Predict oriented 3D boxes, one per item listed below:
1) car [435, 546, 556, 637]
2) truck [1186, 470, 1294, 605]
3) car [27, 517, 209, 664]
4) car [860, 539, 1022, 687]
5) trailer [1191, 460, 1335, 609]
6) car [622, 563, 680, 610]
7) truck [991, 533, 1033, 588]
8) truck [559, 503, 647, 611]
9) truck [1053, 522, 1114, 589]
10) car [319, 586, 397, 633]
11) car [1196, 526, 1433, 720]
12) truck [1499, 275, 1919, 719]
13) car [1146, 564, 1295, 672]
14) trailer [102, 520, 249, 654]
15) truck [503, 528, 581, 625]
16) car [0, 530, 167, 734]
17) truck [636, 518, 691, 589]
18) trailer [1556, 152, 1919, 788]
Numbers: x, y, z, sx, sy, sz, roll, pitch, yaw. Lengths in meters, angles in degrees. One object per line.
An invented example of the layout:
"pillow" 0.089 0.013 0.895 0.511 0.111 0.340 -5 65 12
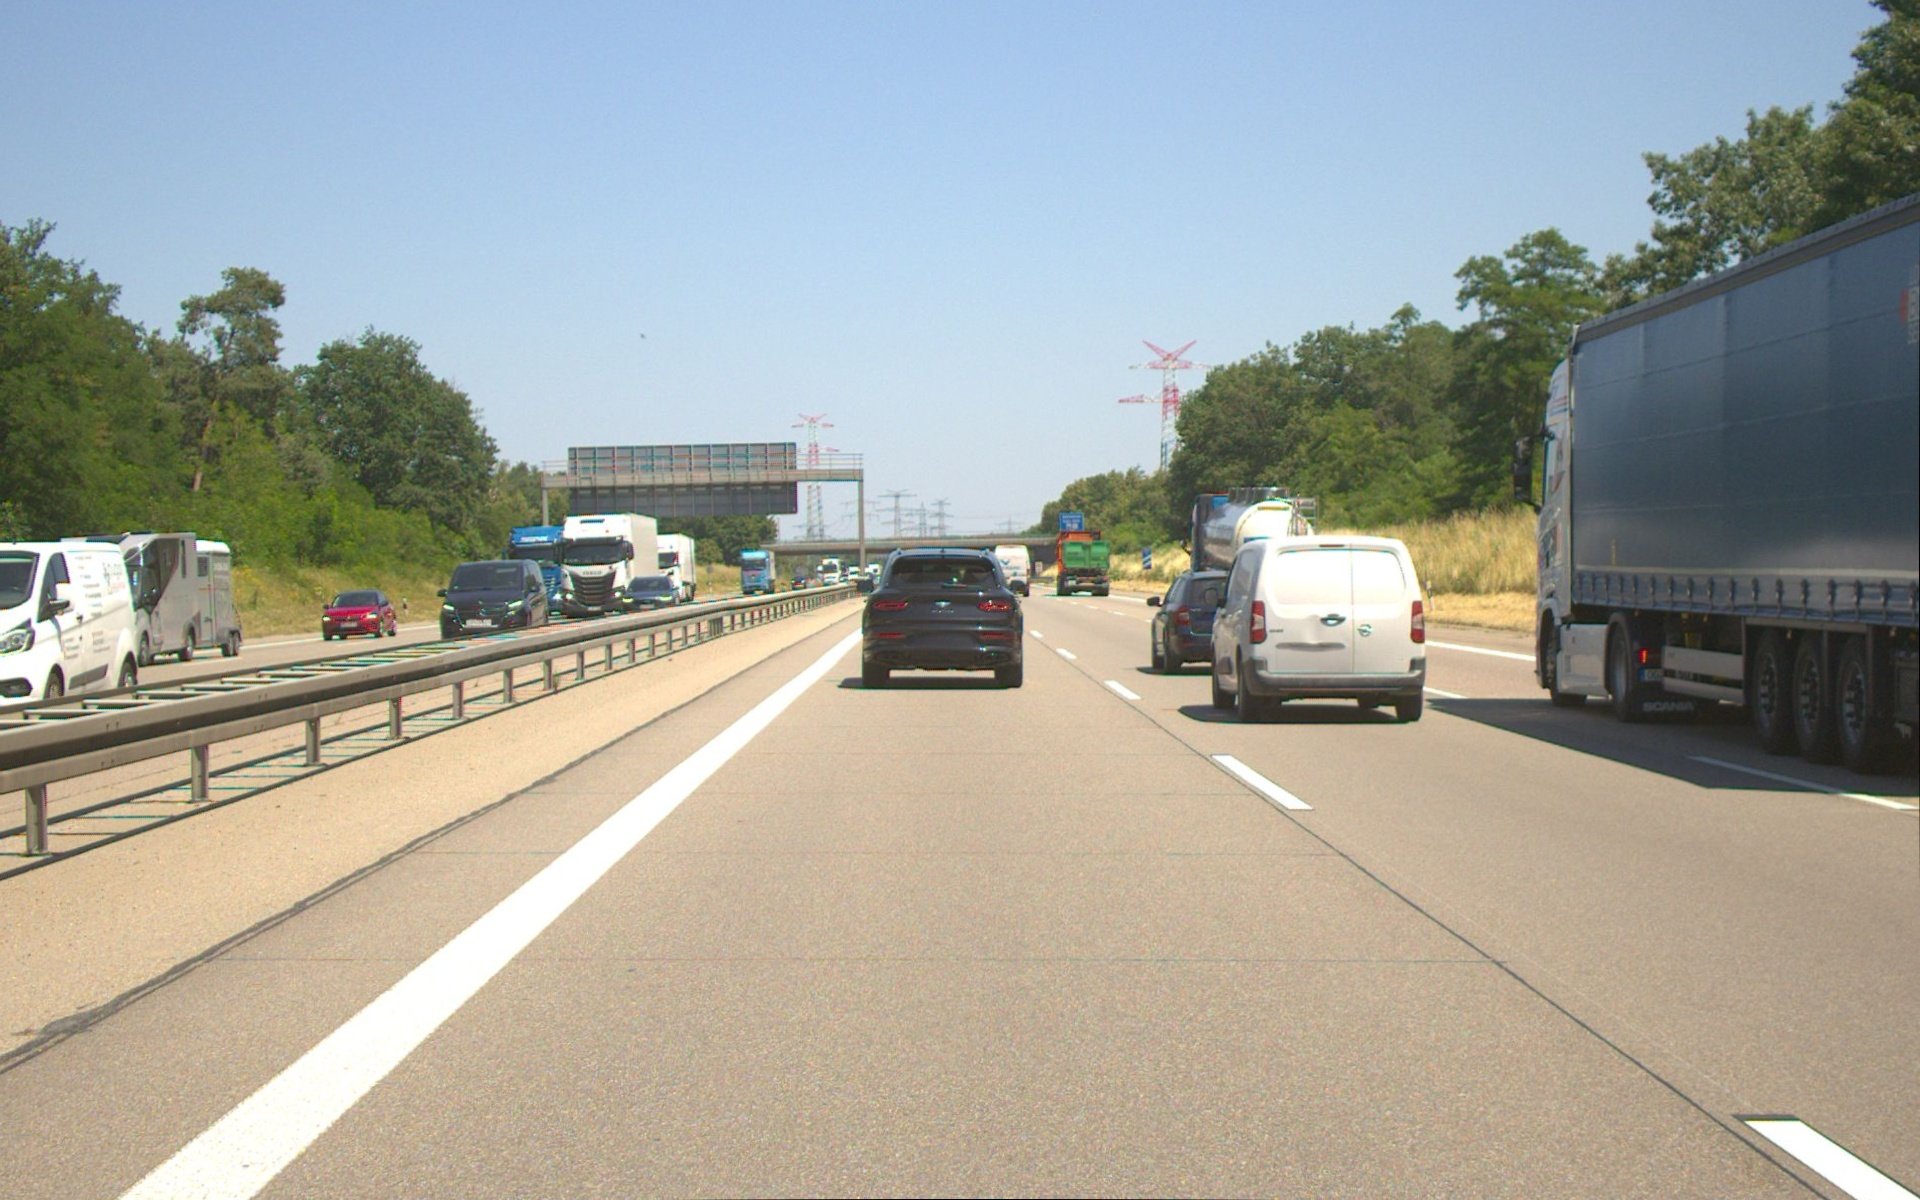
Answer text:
"car" -10.214 -0.224 75.961 1.876 1.841 5.834 -3 1 -1
"truck" 8.137 -1.796 100.422 2.682 3.824 4.444 1 0 -1
"car" -17.597 -0.230 72.193 2.213 2.848 6.454 -3 1 -1
"car" -0.285 0.106 44.333 1.940 1.746 5.814 0 1 -1
"trailer" 8.222 -1.749 94.707 2.682 3.824 12.011 1 1 -1
"car" -10.626 -0.484 118.394 1.617 1.477 4.625 -3 1 -1
"truck" 2.830 -2.159 188.072 2.060 2.904 7.003 0 1 -1
"truck" -13.826 -1.664 133.550 2.668 3.976 6.342 -3 1 -1
"truck" 7.075 -2.535 197.980 2.989 3.716 10.090 1 1 -1
"car" -18.098 0.268 103.559 1.639 1.271 4.133 -3 1 -1
"car" 3.529 0.192 35.058 1.814 1.821 5.111 0 1 -1
"truck" 7.811 -1.007 35.881 3.286 4.205 6.008 1 0 -1
"car" 3.676 0.227 49.114 1.774 1.467 3.873 0 1 -1
"trailer" -17.703 -0.311 77.773 2.213 2.848 4.585 -3 1 -1
"truck" -18.727 -1.062 154.271 2.668 4.155 6.189 -3 1 -1
"car" -9.900 0.305 35.809 1.995 1.940 5.743 -3 1 -1
"truck" -18.059 -2.840 209.566 2.702 4.172 6.189 -3 1 -1
"trailer" 7.899 -0.899 28.598 3.286 4.205 13.566 1 1 -1
